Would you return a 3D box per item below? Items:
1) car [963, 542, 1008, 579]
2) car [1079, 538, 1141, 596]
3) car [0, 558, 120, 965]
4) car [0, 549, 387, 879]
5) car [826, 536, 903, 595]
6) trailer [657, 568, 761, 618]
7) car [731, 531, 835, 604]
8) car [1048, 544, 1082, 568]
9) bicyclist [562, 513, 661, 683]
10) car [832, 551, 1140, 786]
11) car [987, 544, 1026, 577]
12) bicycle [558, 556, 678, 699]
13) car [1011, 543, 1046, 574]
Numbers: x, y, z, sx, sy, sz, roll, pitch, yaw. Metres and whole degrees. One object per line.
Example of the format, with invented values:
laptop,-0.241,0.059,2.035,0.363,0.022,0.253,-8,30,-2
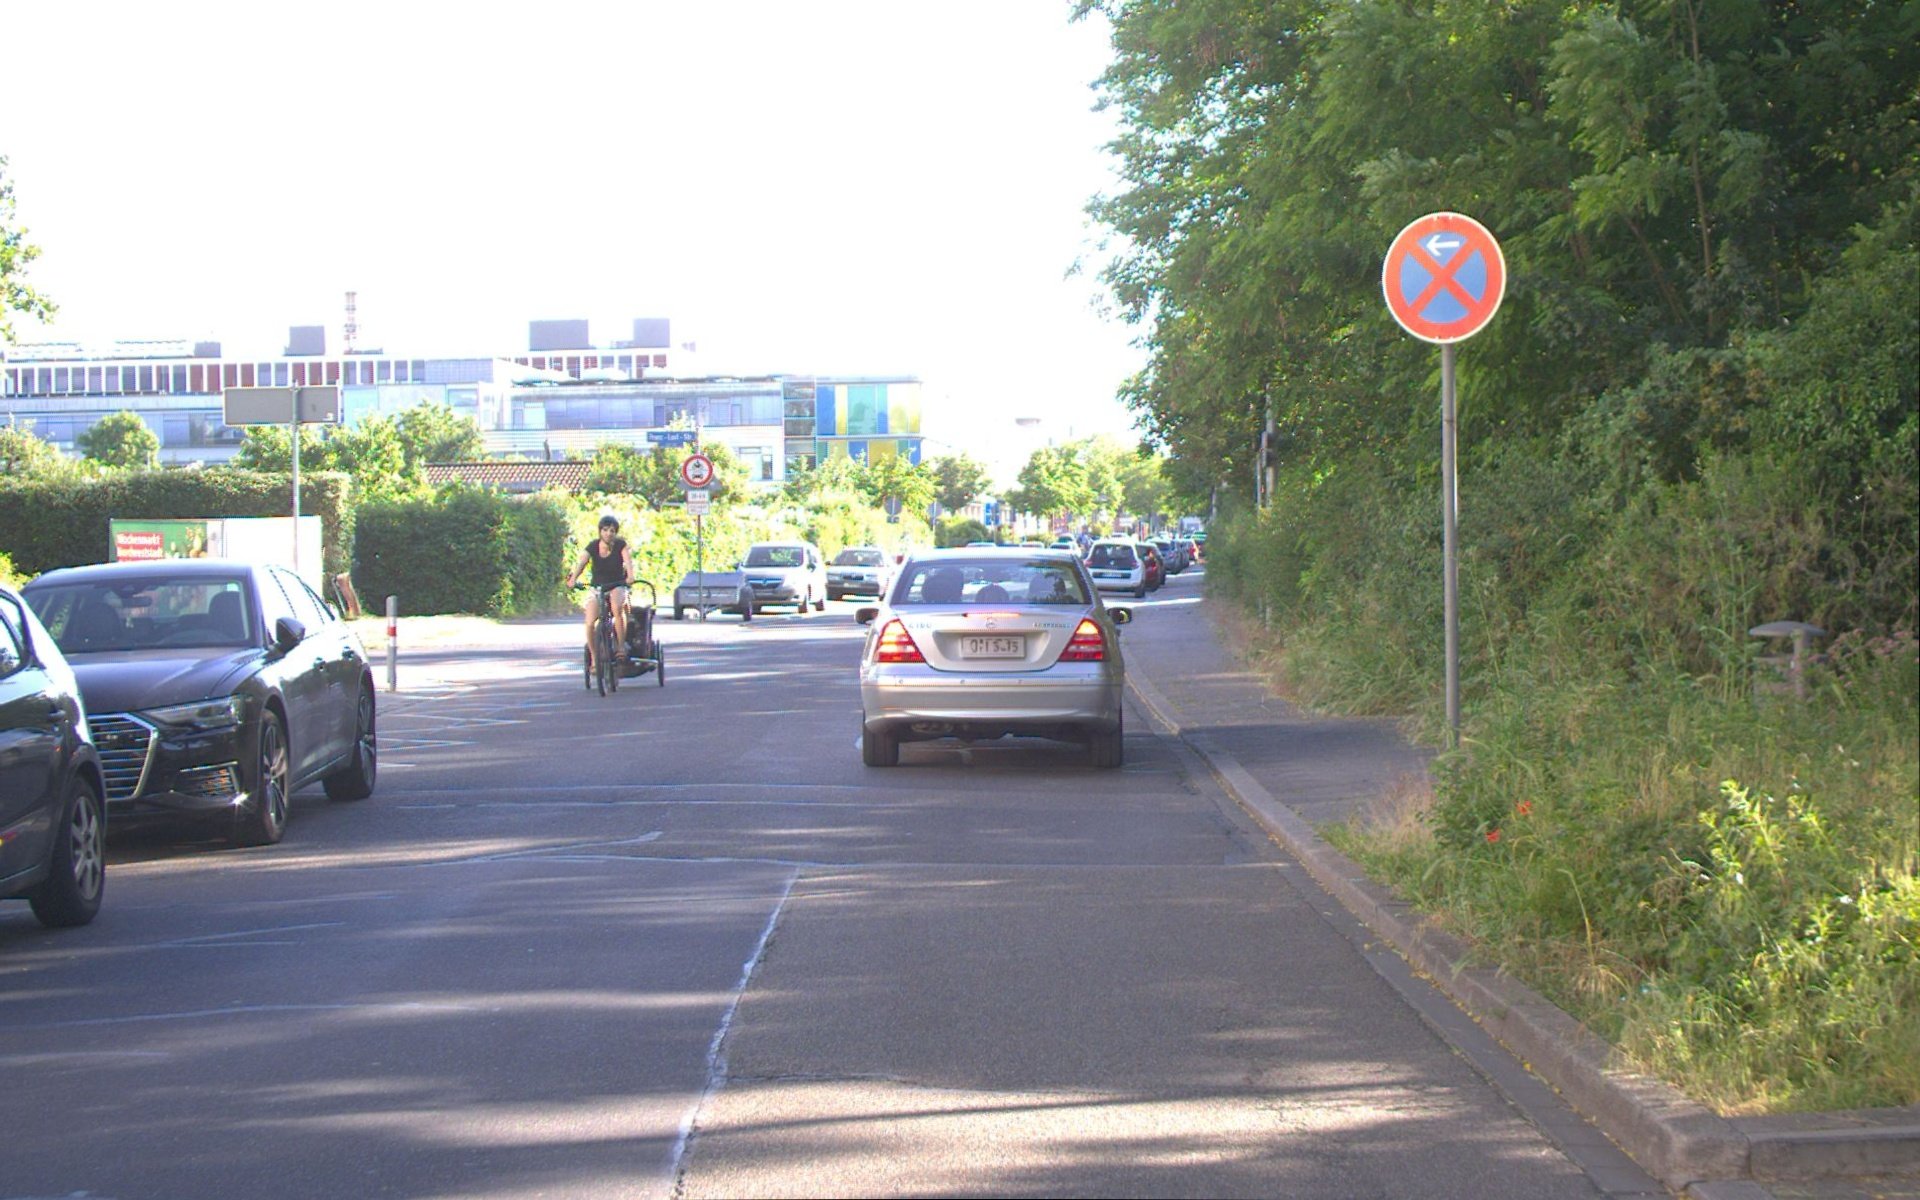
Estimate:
car,1.059,-1.628,141.861,1.560,1.489,3.570,-1,1,4
car,4.159,-0.915,94.710,1.556,1.533,3.555,1,1,5
car,-4.423,0.643,12.037,1.840,1.449,4.018,-3,1,1
car,-4.361,0.519,18.705,1.727,1.458,4.683,-2,2,-1
car,-2.621,-0.958,95.146,1.644,1.551,4.417,-1,1,4
trailer,-4.893,-0.146,67.319,1.544,0.950,2.646,1,1,7
car,-3.951,-0.741,77.398,1.644,1.594,4.310,0,1,6
car,6.297,-2.634,206.374,1.855,1.423,4.133,1,1,4
bicyclist,-3.465,-0.030,34.298,0.844,1.652,1.064,-1,1,0
car,0.091,0.395,23.286,1.737,1.448,4.001,0,1,-5
car,2.155,-1.828,160.009,1.560,1.489,3.570,2,1,4
bicycle,-3.455,0.249,34.999,0.851,1.366,3.220,-1,1,0
car,3.533,-2.141,176.994,1.560,1.489,3.758,-1,1,4
